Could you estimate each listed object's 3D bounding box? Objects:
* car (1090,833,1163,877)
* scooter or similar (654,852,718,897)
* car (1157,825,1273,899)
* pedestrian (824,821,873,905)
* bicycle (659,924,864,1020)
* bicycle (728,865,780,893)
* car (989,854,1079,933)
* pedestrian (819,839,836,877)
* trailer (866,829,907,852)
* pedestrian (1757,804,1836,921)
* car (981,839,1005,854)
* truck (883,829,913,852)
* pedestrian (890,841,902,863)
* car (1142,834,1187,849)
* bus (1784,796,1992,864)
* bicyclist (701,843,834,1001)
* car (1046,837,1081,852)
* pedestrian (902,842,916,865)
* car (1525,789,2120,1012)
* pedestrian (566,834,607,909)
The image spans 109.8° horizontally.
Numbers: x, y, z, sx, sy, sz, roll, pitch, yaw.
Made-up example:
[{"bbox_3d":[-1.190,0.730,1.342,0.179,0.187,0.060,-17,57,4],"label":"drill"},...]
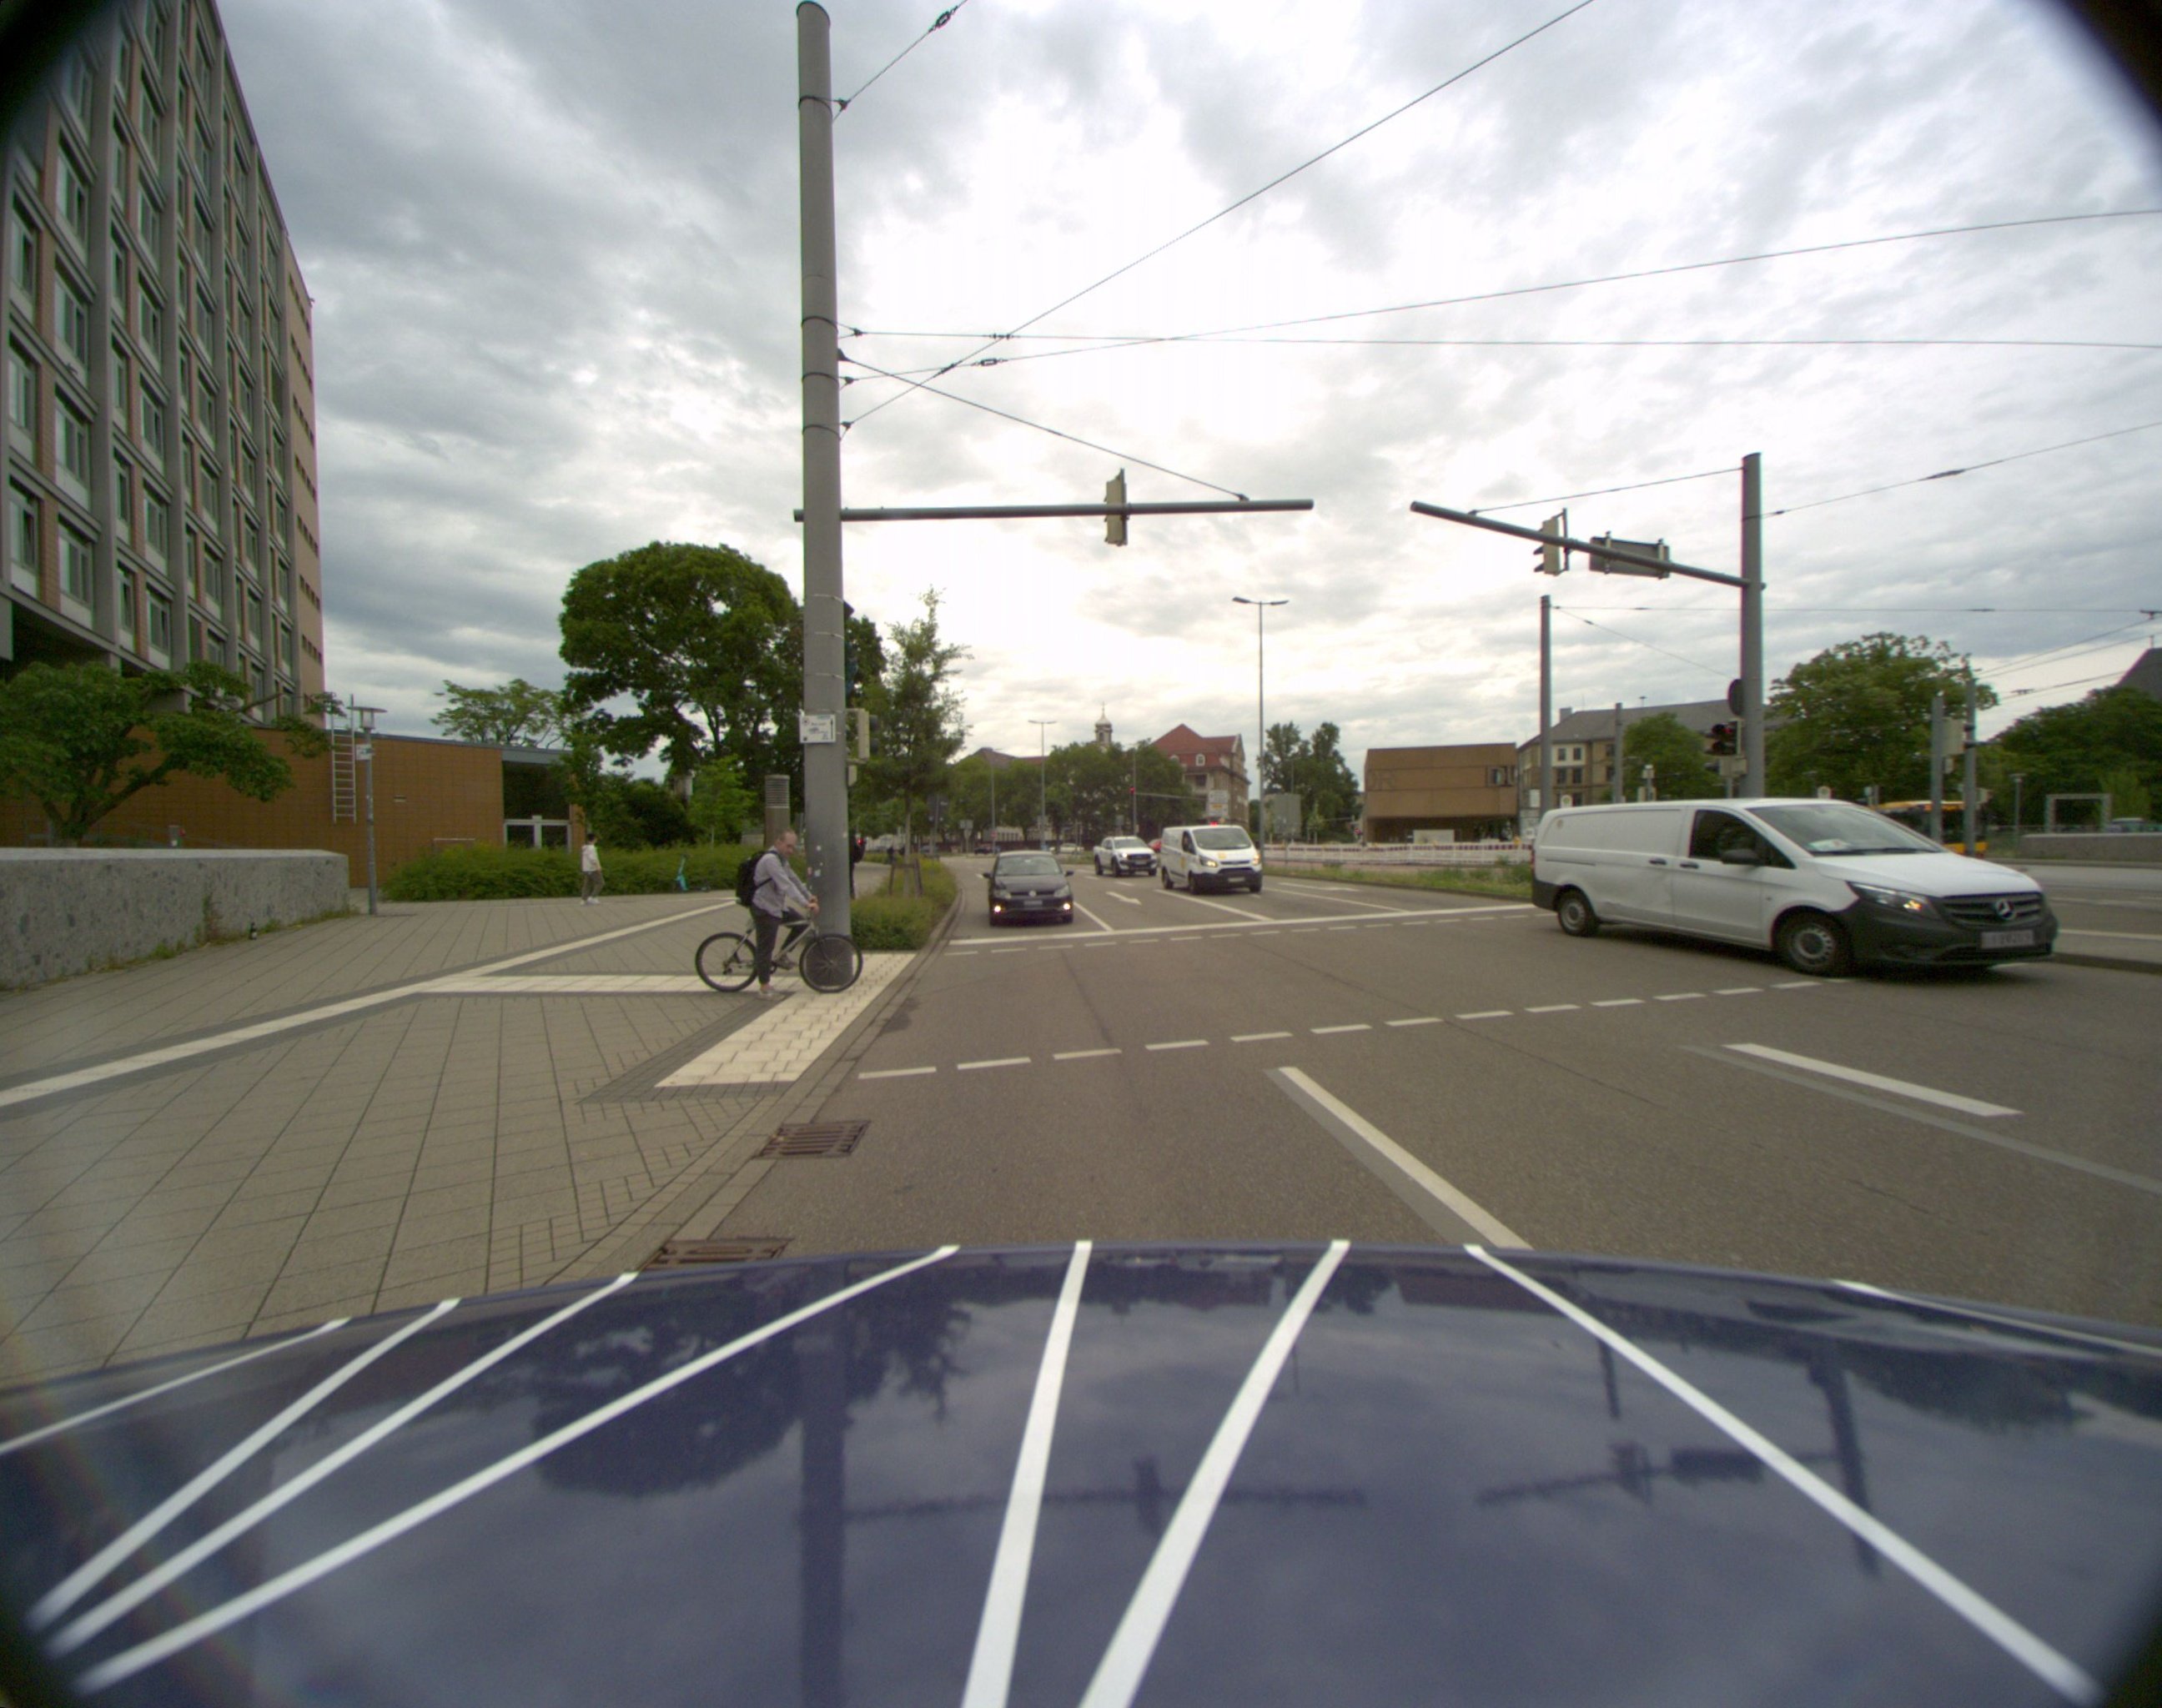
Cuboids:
[{"bbox_3d":[1.966,-0.002,34.765,2.091,1.838,4.745,-1,1,-13],"label":"car"},{"bbox_3d":[-12.165,0.619,23.415,1.607,1.282,0.693,-3,2,-39],"label":"scooter or similar"},{"bbox_3d":[3.829,0.178,22.575,2.000,1.931,4.519,-1,1,-10],"label":"car"},{"bbox_3d":[-5.506,0.196,17.996,0.876,1.917,0.722,-2,2,-41],"label":"pedestrian"},{"bbox_3d":[-3.218,1.182,7.832,1.827,0.835,0.766,1,1,-11],"label":"bicycle"},{"bbox_3d":[-10.778,0.803,25.119,0.557,0.843,2.074,0,1,8],"label":"bicycle"},{"bbox_3d":[-1.109,0.735,16.262,1.656,1.405,3.997,-1,1,-7],"label":"car"},{"bbox_3d":[-12.186,0.198,36.584,0.631,1.790,0.597,2,1,-11],"label":"pedestrian"},{"bbox_3d":[-36.630,-2.392,142.556,2.952,3.991,13.775,-3,2,-33],"label":"trailer"},{"bbox_3d":[12.346,0.136,13.144,0.779,1.932,0.983,0,2,31],"label":"pedestrian"},{"bbox_3d":[-12.103,-0.999,104.176,2.002,2.002,3.977,-3,1,-26],"label":"car"},{"bbox_3d":[-33.195,-2.388,137.370,2.918,4.002,7.142,-3,2,-33],"label":"truck"},{"bbox_3d":[-15.301,-0.145,62.870,0.596,1.790,0.723,3,1,36],"label":"pedestrian"},{"bbox_3d":[9.907,-1.477,90.015,5.252,1.707,1.908,-1,1,-32],"label":"car"},{"bbox_3d":[42.289,-1.255,40.585,2.858,3.060,12.036,-1,1,22],"label":"bus"},{"bbox_3d":[-3.185,0.652,7.819,1.101,1.512,0.759,-1,1,-11],"label":"bicyclist"},{"bbox_3d":[-2.168,-1.148,94.589,3.994,1.718,2.001,-2,1,11],"label":"car"},{"bbox_3d":[-13.385,-0.052,59.137,0.596,1.790,0.723,3,1,36],"label":"pedestrian"},{"bbox_3d":[8.009,0.341,9.178,1.923,1.872,5.085,-2,2,-6],"label":"car"},{"bbox_3d":[-12.174,0.420,18.732,0.704,1.795,0.837,-1,2,-27],"label":"pedestrian"}]
